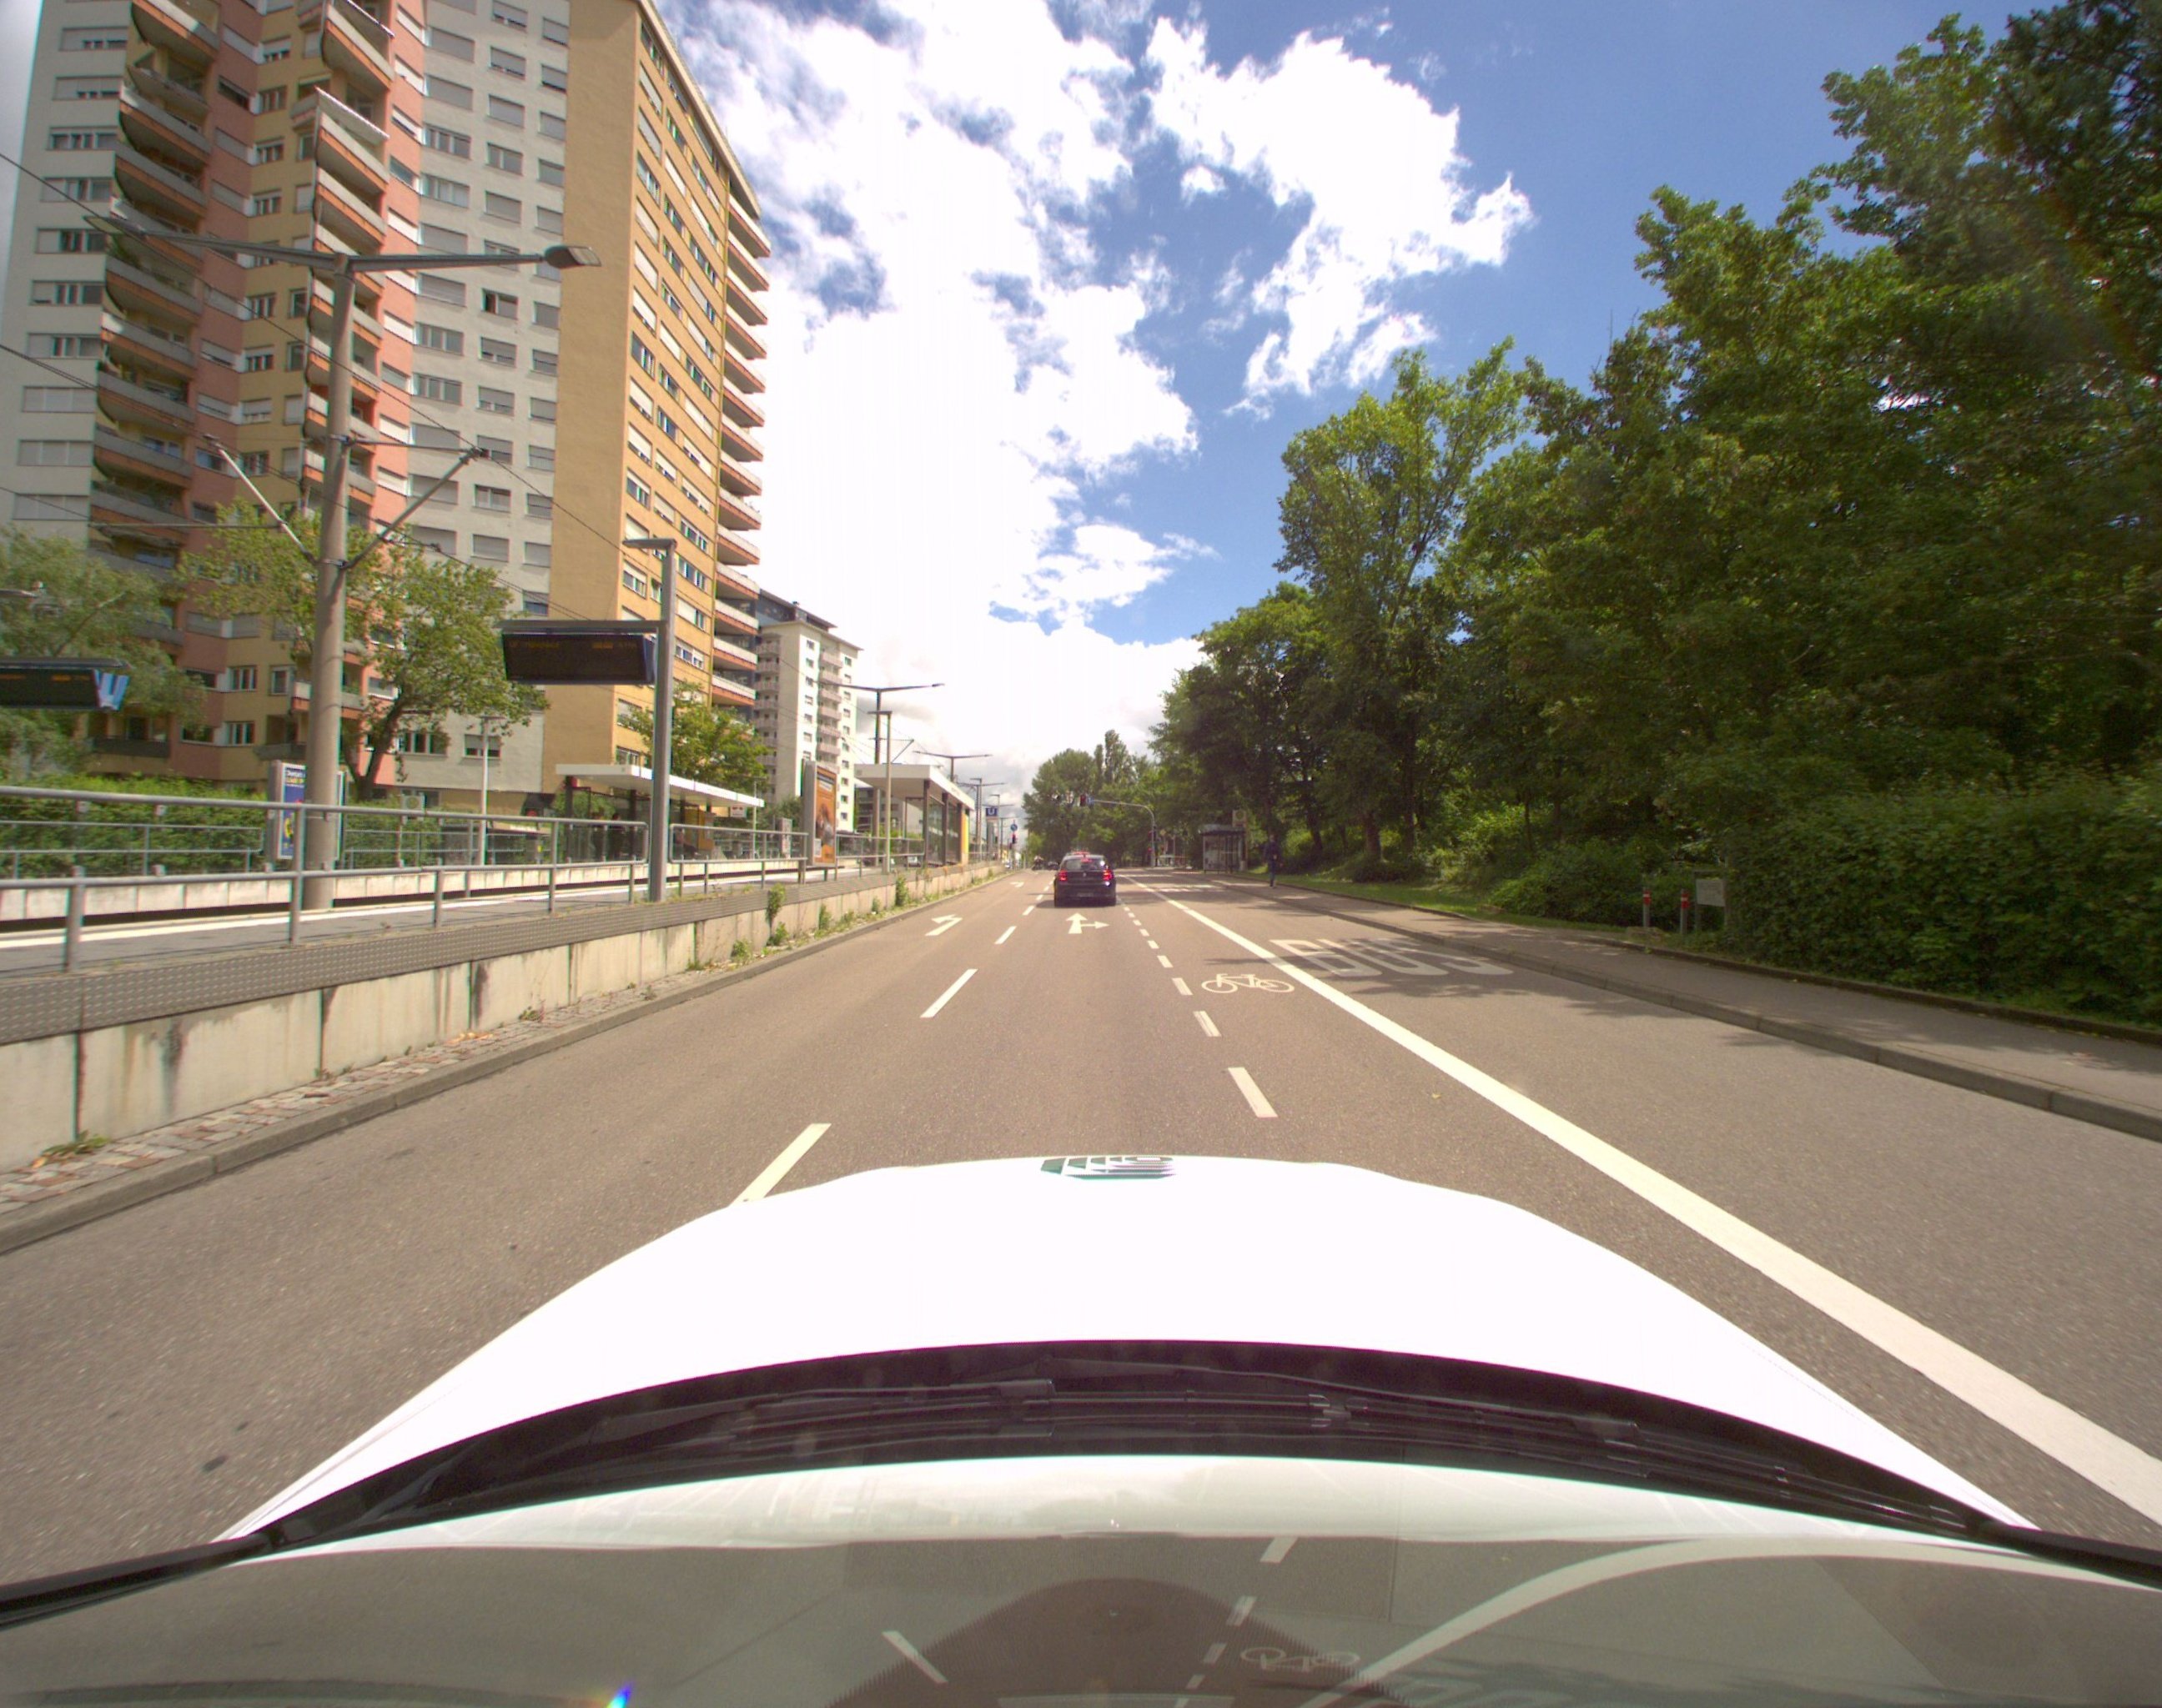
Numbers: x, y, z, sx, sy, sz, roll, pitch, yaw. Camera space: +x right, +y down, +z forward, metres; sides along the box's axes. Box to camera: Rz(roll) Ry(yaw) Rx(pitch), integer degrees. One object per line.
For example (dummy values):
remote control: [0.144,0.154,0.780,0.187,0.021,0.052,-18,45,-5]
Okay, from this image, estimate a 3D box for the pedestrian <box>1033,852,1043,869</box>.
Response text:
pedestrian: [-3.613,0.527,68.443,0.863,1.442,0.797,-1,0,-4]

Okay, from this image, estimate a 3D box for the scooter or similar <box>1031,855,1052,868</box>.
scooter or similar: [-3.291,0.622,67.949,1.780,1.050,0.409,-1,0,-10]

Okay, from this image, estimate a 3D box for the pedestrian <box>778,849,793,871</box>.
pedestrian: [-22.932,0.469,63.135,0.852,1.696,0.692,0,0,13]

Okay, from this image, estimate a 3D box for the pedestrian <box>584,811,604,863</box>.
pedestrian: [-15.481,-0.533,25.889,0.523,1.644,0.559,-1,0,-33]

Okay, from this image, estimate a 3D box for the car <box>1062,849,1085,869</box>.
car: [-0.587,0.344,60.094,1.650,1.419,3.514,-1,0,-2]

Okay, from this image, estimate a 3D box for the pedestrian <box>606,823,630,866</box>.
pedestrian: [-15.240,-0.320,26.809,0.541,1.380,0.519,-1,-3,-9]

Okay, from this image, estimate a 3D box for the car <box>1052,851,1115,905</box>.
car: [0.116,0.637,23.418,1.648,1.419,3.518,-1,0,1]

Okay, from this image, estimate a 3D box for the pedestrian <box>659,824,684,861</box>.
pedestrian: [-15.276,-0.416,30.391,0.641,1.369,0.506,-1,0,0]

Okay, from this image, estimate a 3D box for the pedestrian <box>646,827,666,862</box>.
pedestrian: [-15.295,-0.336,29.321,0.520,1.236,0.541,-1,0,-12]

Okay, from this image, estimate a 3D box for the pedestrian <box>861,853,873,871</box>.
pedestrian: [-15.956,0.599,60.755,0.660,1.343,0.558,-1,0,41]

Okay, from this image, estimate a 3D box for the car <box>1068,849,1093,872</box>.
car: [-0.035,0.402,53.047,1.589,1.419,3.517,-1,0,0]

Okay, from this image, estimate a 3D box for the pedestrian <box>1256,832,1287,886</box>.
pedestrian: [6.782,0.180,29.018,0.798,1.895,1.270,0,0,0]

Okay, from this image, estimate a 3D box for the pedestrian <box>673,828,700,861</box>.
pedestrian: [-15.146,-0.370,31.261,0.740,1.236,0.517,-1,0,0]

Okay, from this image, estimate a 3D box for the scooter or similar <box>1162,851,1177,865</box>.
scooter or similar: [7.913,0.343,72.829,1.291,1.189,0.382,-1,0,-16]

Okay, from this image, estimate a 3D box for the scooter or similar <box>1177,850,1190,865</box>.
scooter or similar: [9.303,0.313,73.617,1.108,1.258,0.330,-1,0,-13]

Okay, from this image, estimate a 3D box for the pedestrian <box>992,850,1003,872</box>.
pedestrian: [-6.337,0.502,61.691,0.699,1.632,0.637,-1,0,-3]
